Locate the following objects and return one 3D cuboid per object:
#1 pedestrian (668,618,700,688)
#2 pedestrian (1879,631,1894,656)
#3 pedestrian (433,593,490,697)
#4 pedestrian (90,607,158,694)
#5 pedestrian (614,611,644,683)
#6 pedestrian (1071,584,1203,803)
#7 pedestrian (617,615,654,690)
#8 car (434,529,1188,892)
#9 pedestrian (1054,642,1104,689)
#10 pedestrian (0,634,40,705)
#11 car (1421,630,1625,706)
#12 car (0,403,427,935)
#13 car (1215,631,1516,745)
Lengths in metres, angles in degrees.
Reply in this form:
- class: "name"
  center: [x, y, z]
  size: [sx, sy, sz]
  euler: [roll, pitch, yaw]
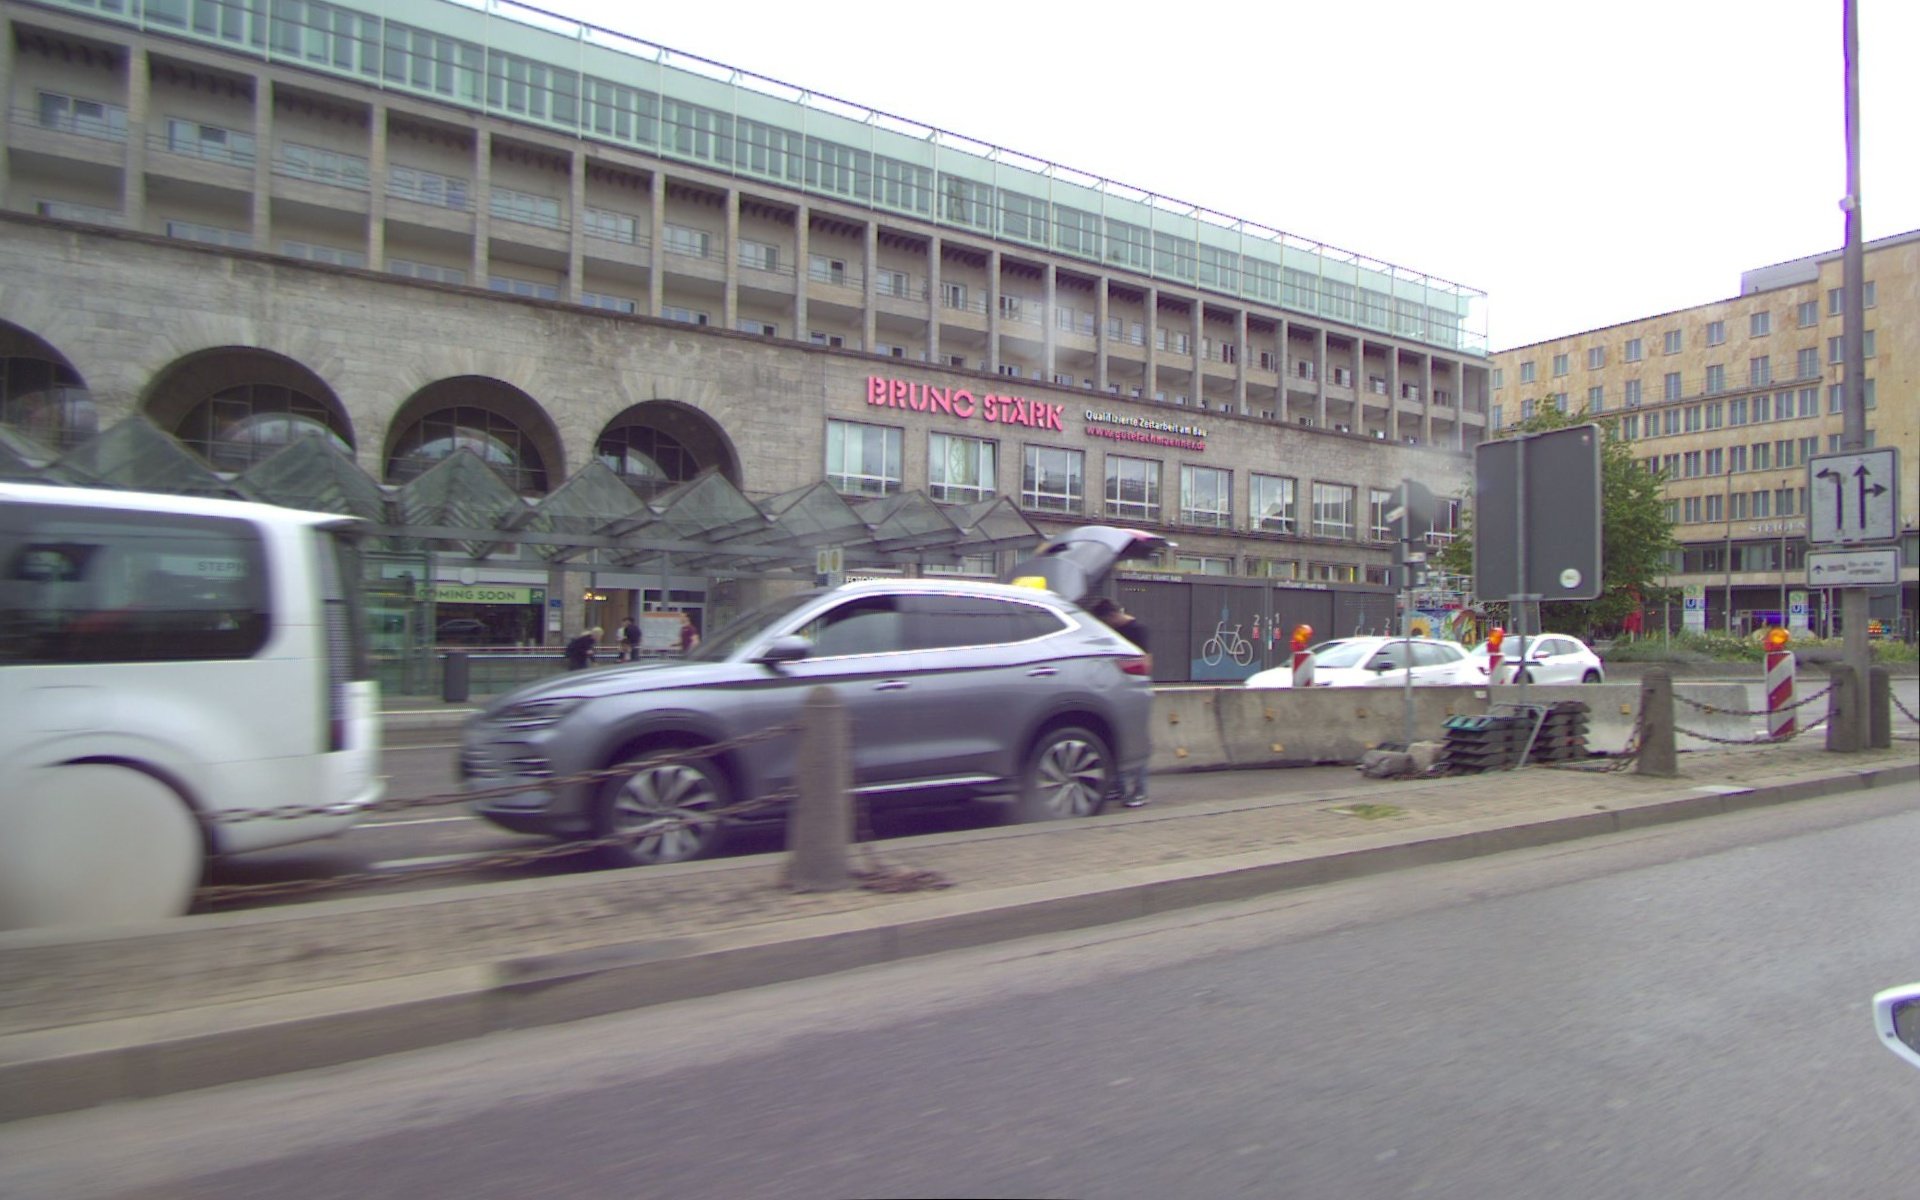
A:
- class: "pedestrian"
  center: [-8.338, 1.586, 30.335]
  size: [0.761, 2.068, 0.800]
  euler: [1, -2, -28]
- class: "pedestrian"
  center: [62.031, 2.915, 67.257]
  size: [0.688, 1.665, 0.646]
  euler: [-1, -2, 44]
- class: "pedestrian"
  center: [-10.070, 0.903, 20.281]
  size: [0.949, 2.040, 0.838]
  euler: [1, -2, -30]
- class: "pedestrian"
  center: [-16.627, 0.983, 19.990]
  size: [0.883, 1.677, 0.753]
  euler: [1, 0, -28]
- class: "pedestrian"
  center: [-10.081, 1.417, 30.624]
  size: [0.794, 2.154, 0.767]
  euler: [1, -2, -22]
- class: "pedestrian"
  center: [1.438, 0.732, 8.213]
  size: [0.754, 1.675, 0.757]
  euler: [1, -2, -30]
- class: "pedestrian"
  center: [-9.589, 1.544, 29.678]
  size: [0.964, 2.154, 0.767]
  euler: [1, -2, -22]
- class: "car"
  center: [-0.898, 0.604, 6.875]
  size: [4.724, 1.744, 1.985]
  euler: [1, -2, -30]
- class: "pedestrian"
  center: [3.198, 1.739, 27.005]
  size: [1.246, 1.198, 0.577]
  euler: [1, 0, -30]
- class: "pedestrian"
  center: [-21.687, 1.580, 23.024]
  size: [0.748, 1.588, 0.627]
  euler: [1, 0, -29]
- class: "car"
  center: [12.973, 1.513, 23.093]
  size: [4.779, 1.584, 1.953]
  euler: [1, -4, -31]
- class: "car"
  center: [-5.493, 0.278, 4.431]
  size: [5.478, 2.207, 1.984]
  euler: [1, -2, -30]
- class: "car"
  center: [6.530, 1.319, 16.049]
  size: [4.779, 1.584, 1.953]
  euler: [1, -4, -31]
